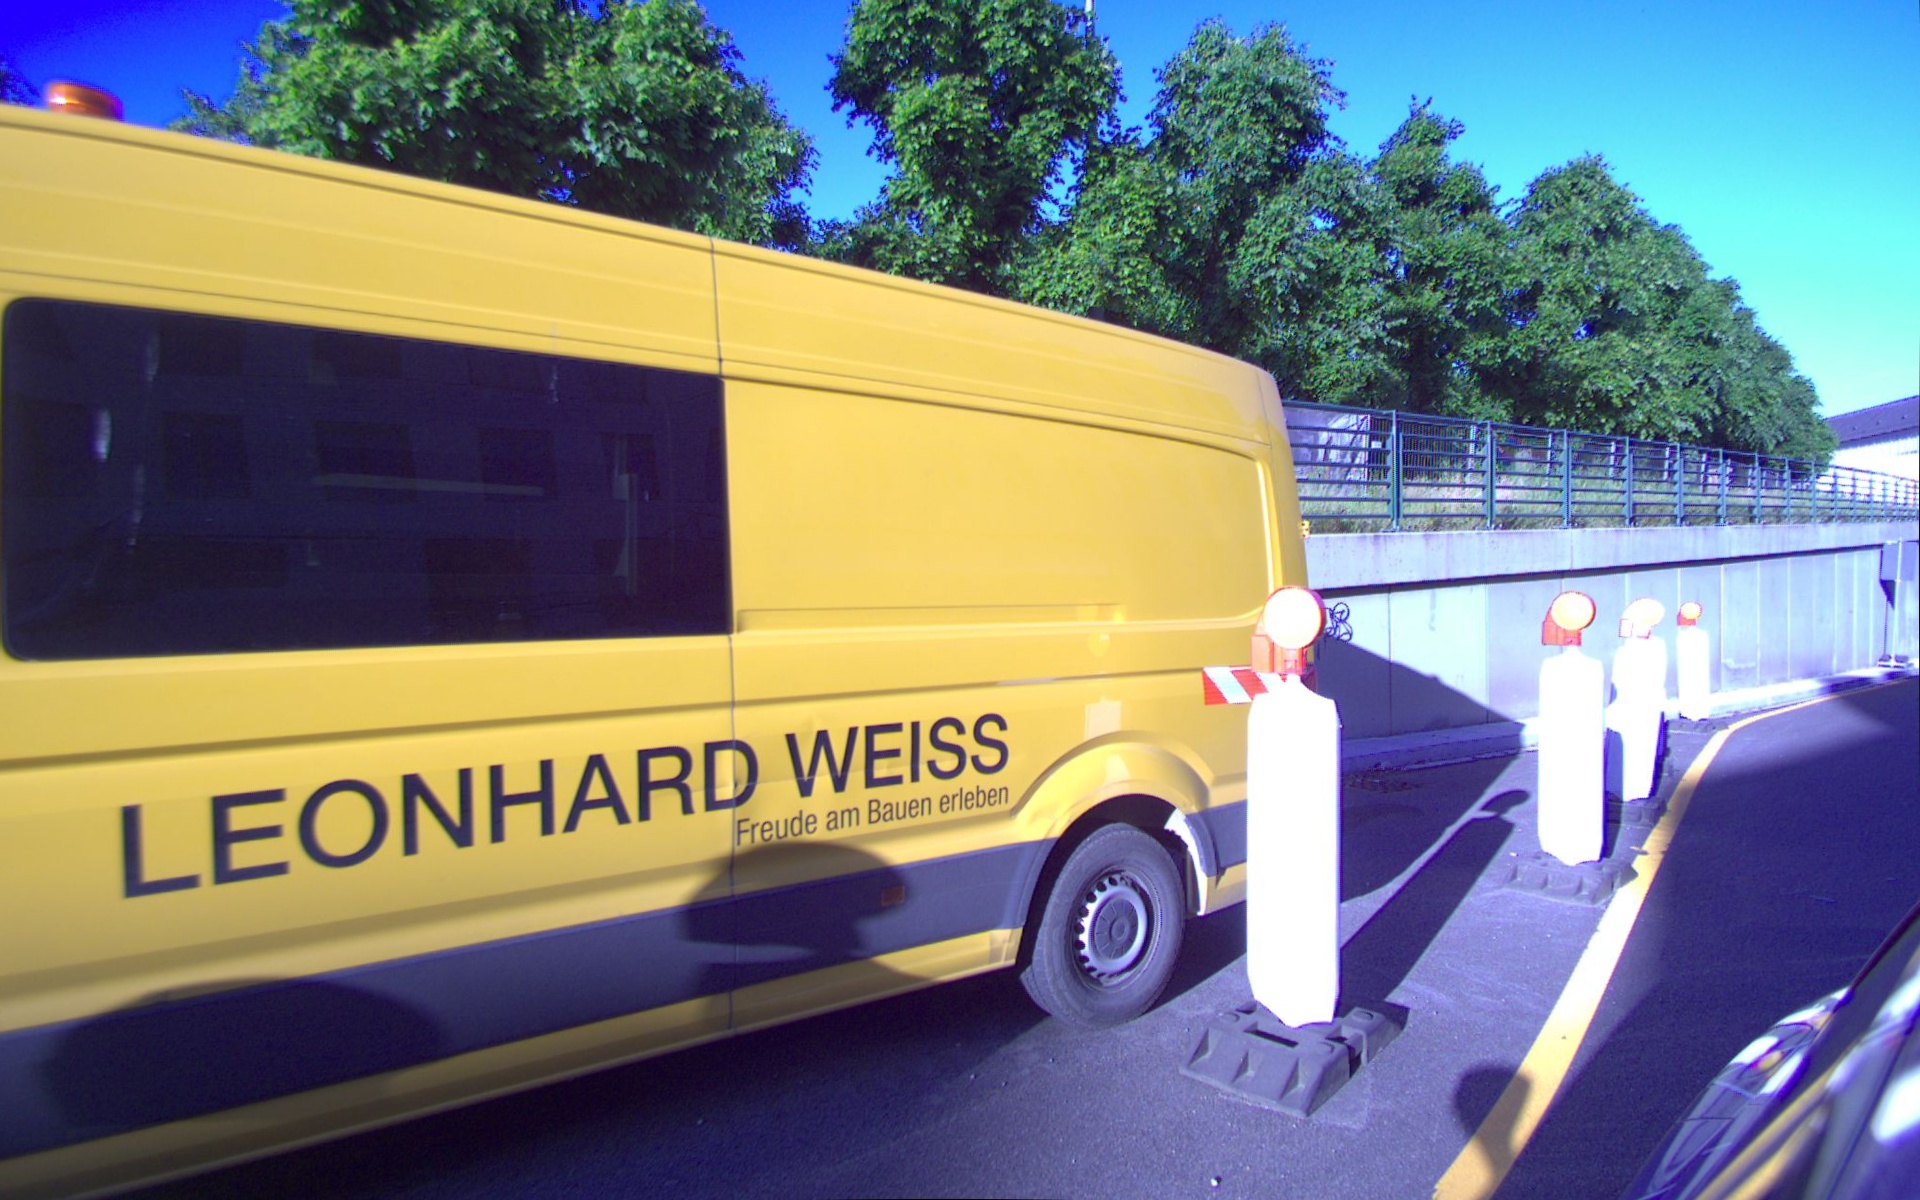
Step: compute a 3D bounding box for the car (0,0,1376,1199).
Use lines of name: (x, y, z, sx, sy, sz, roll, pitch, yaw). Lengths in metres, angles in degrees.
car: (-1.688, 0.087, 3.170, 6.853, 2.657, 2.119, -1, 1, -34)
